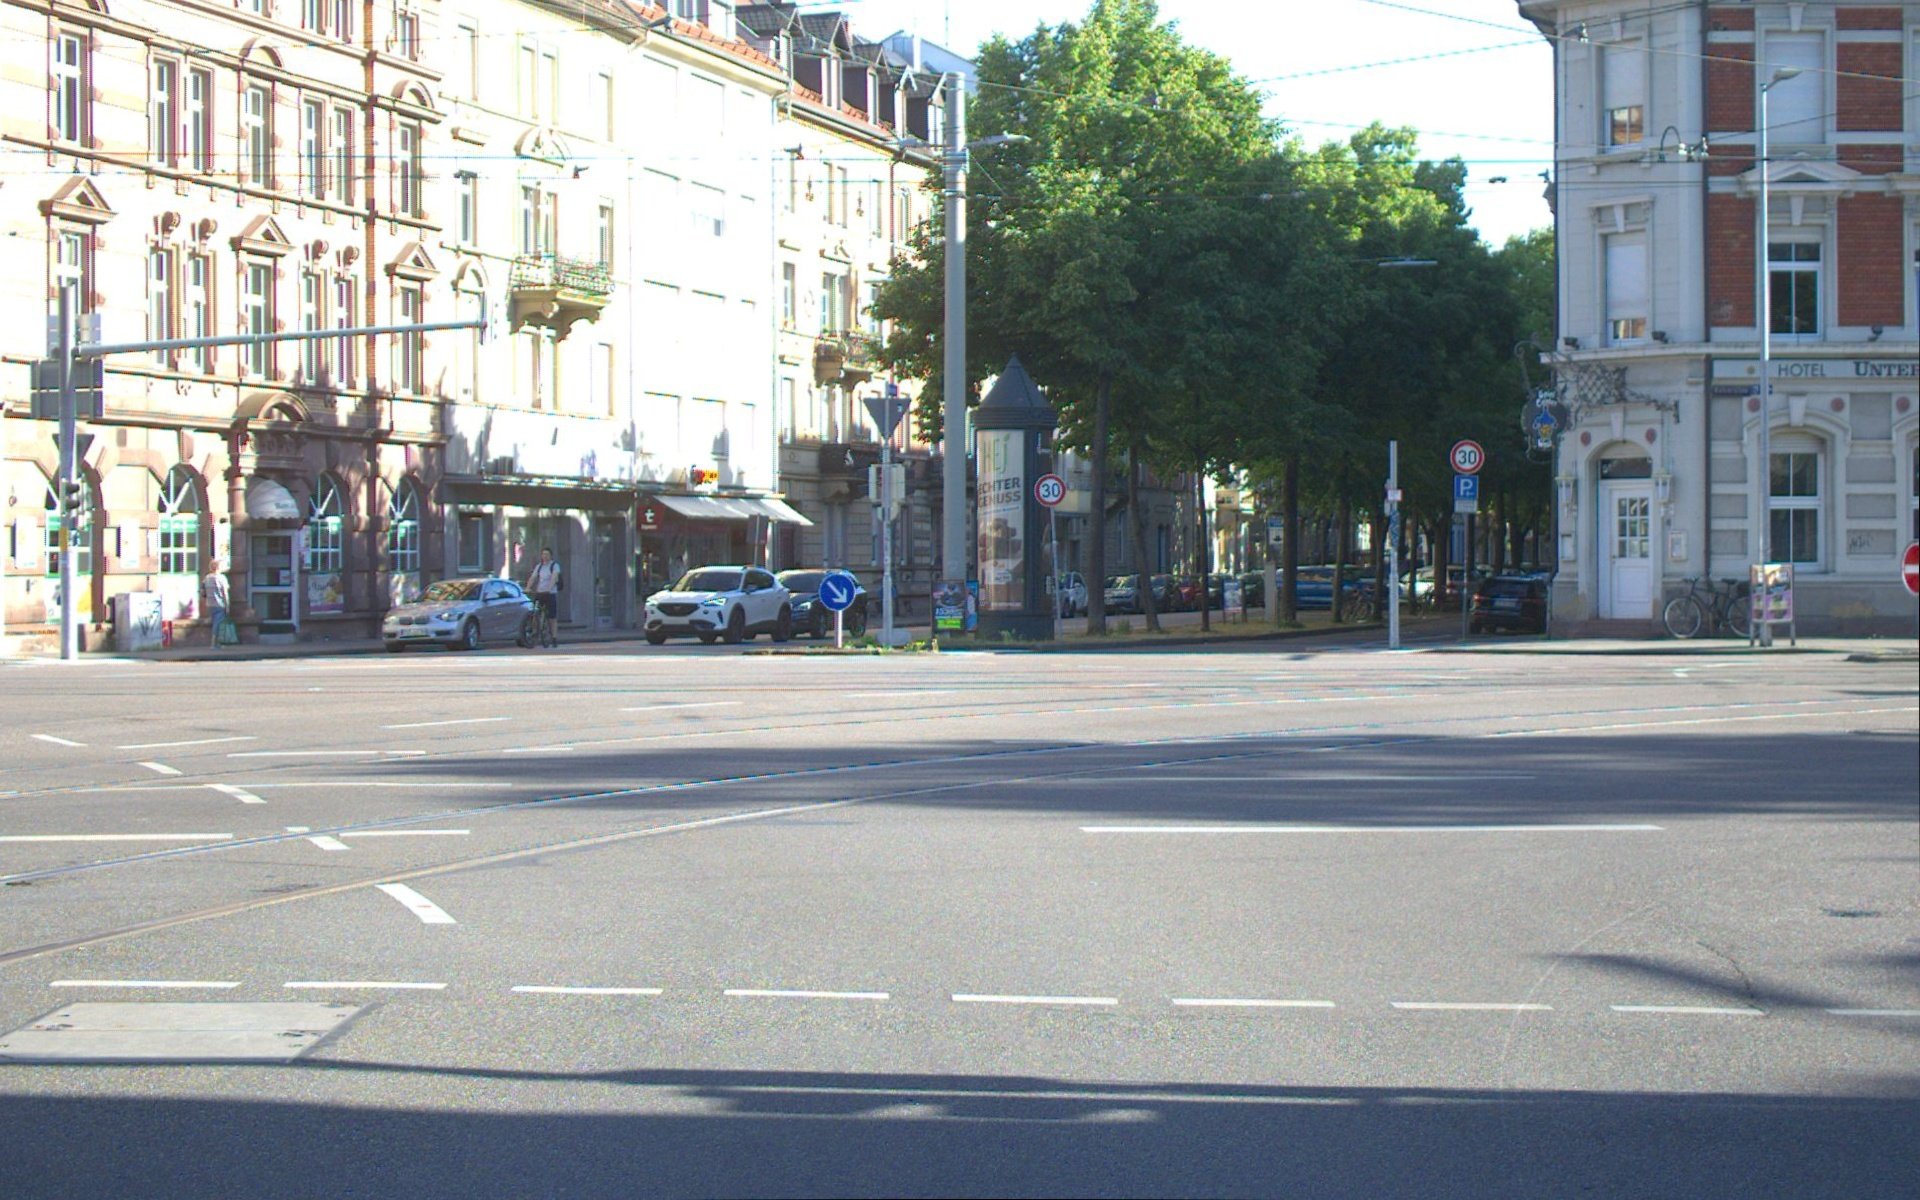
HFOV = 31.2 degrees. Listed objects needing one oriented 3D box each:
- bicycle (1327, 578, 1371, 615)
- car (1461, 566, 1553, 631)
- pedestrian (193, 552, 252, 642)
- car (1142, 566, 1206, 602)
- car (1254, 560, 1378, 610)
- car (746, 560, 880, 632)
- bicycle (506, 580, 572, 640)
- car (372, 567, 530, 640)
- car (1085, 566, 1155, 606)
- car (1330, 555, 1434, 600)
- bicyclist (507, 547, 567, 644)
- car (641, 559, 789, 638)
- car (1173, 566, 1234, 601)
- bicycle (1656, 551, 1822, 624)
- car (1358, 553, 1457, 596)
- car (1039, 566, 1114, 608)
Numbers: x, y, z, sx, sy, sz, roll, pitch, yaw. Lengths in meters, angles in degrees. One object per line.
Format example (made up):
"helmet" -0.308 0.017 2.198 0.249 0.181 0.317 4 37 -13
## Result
"bicycle" 11.263 -0.105 99.480 0.636 1.018 1.847 1 1 -14
"car" 13.151 -0.058 82.570 1.678 1.478 3.945 0 1 17
"pedestrian" -13.864 -0.057 64.662 0.776 1.664 0.830 1 0 15
"car" 8.144 -0.616 130.744 1.678 1.349 3.588 0 1 17
"car" 11.994 -0.510 115.674 3.905 1.642 1.681 0 1 17
"car" -3.119 -0.103 73.612 1.678 1.478 3.945 0 1 17
"bicycle" -7.978 0.184 65.262 0.702 1.114 1.634 1 1 13
"car" -9.872 0.055 66.907 1.678 1.349 3.588 0 1 17
"car" 5.708 -0.507 122.437 1.678 1.349 3.588 0 1 17
"car" 15.717 -0.847 128.029 3.582 1.642 1.681 0 1 17
"bicyclist" -8.014 -0.089 65.136 0.779 1.797 1.055 1 0 14
"car" -4.761 -0.053 67.311 1.678 1.478 3.768 0 1 17
"car" 9.616 -0.655 135.774 1.678 1.349 3.588 0 1 17
"bicycle" 12.969 -0.208 57.272 2.554 1.170 0.819 1 0 -3
"car" 17.391 -1.002 133.503 3.582 1.642 1.681 0 1 17
"car" 3.936 -0.445 115.476 1.678 1.349 3.588 0 1 17
